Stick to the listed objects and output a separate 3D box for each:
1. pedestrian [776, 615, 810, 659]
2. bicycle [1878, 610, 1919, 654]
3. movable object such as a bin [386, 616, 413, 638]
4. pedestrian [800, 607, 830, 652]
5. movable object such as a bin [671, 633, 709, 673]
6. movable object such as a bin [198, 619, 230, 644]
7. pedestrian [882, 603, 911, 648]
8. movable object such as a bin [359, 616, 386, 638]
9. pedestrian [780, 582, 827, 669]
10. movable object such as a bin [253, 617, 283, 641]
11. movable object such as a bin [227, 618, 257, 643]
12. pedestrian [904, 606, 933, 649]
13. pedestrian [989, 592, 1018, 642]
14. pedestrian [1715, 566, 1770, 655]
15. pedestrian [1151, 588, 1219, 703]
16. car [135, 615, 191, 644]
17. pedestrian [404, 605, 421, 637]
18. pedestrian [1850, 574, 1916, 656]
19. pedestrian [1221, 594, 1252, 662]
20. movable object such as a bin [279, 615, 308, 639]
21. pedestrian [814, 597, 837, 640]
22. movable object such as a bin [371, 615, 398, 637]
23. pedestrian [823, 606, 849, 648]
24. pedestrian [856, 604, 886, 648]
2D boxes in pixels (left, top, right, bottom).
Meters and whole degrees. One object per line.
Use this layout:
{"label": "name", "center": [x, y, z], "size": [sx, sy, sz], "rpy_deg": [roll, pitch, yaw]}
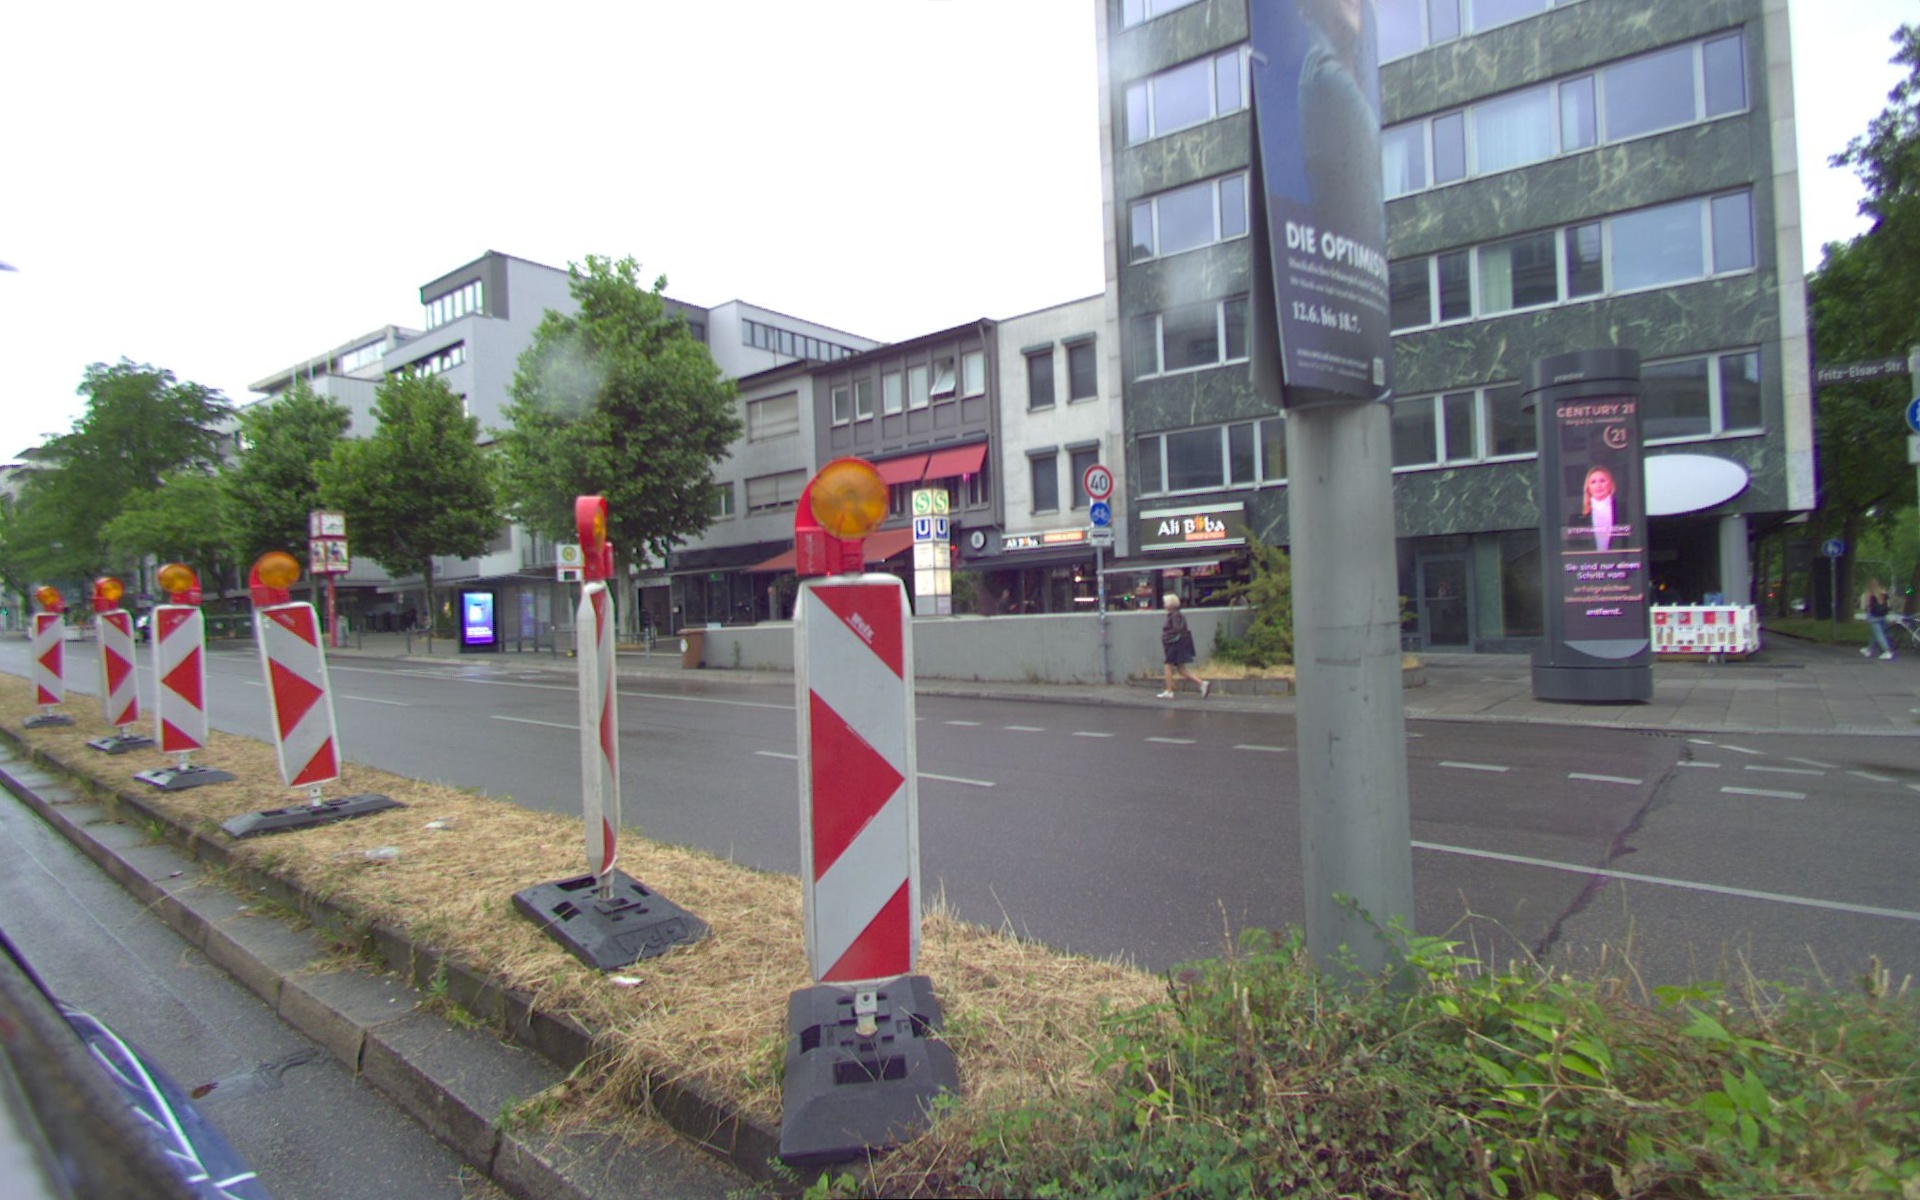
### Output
{"label": "pedestrian", "center": [-5.633, 1.240, 34.176], "size": [0.912, 1.461, 0.683], "rpy_deg": [-2, -1, 37]}
{"label": "bicycle", "center": [20.866, 0.677, 21.615], "size": [0.468, 0.941, 1.803], "rpy_deg": [0, -1, -39]}
{"label": "movable object such as a bin", "center": [-36.639, 1.760, 66.138], "size": [1.278, 1.446, 1.077], "rpy_deg": [-1, -1, 32]}
{"label": "pedestrian", "center": [-4.807, 0.985, 33.562], "size": [0.706, 1.461, 0.683], "rpy_deg": [-2, -1, 37]}
{"label": "movable object such as a bin", "center": [-6.269, 1.230, 23.529], "size": [0.680, 0.904, 0.527], "rpy_deg": [-1, -2, 32]}
{"label": "movable object such as a bin", "center": [-44.233, 1.833, 59.994], "size": [1.088, 1.437, 1.345], "rpy_deg": [-2, -1, 41]}
{"label": "pedestrian", "center": [-2.095, 0.845, 33.312], "size": [0.690, 1.461, 0.627], "rpy_deg": [-2, -1, 34]}
{"label": "movable object such as a bin", "center": [-39.229, 1.781, 67.587], "size": [1.278, 1.446, 1.077], "rpy_deg": [-1, -1, 32]}
{"label": "pedestrian", "center": [-3.493, 0.554, 22.641], "size": [0.757, 1.899, 0.683], "rpy_deg": [-2, -1, 37]}
{"label": "movable object such as a bin", "center": [-42.483, 1.759, 62.129], "size": [1.088, 1.437, 1.265], "rpy_deg": [-2, -1, 41]}
{"label": "movable object such as a bin", "center": [-43.321, 1.840, 61.086], "size": [1.088, 1.437, 1.265], "rpy_deg": [-2, -1, 41]}
{"label": "pedestrian", "center": [-1.349, 0.883, 32.861], "size": [0.690, 1.354, 0.627], "rpy_deg": [-2, -1, 34]}
{"label": "pedestrian", "center": [1.295, 0.500, 30.147], "size": [0.587, 1.461, 0.597], "rpy_deg": [-2, -1, 36]}
{"label": "pedestrian", "center": [16.971, 0.233, 21.971], "size": [0.875, 1.868, 1.012], "rpy_deg": [-2, -1, 37]}
{"label": "pedestrian", "center": [3.388, 0.664, 15.231], "size": [0.757, 1.665, 0.683], "rpy_deg": [-2, -1, 37]}
{"label": "car", "center": [-48.075, 1.781, 61.004], "size": [4.019, 1.648, 1.761], "rpy_deg": [-2, -1, 38]}
{"label": "pedestrian", "center": [-31.021, 1.177, 57.296], "size": [0.653, 1.776, 0.688], "rpy_deg": [-1, -1, 43]}
{"label": "pedestrian", "center": [18.733, 0.322, 20.574], "size": [0.922, 1.597, 0.822], "rpy_deg": [-2, -5, 41]}
{"label": "pedestrian", "center": [7.842, 0.775, 28.682], "size": [0.590, 1.899, 0.749], "rpy_deg": [-2, -1, 34]}
{"label": "movable object such as a bin", "center": [-41.593, 1.684, 63.183], "size": [1.088, 1.499, 1.265], "rpy_deg": [-2, -1, 41]}
{"label": "pedestrian", "center": [-4.972, 0.690, 37.358], "size": [0.603, 1.582, 0.591], "rpy_deg": [-1, -1, 31]}
{"label": "movable object such as a bin", "center": [-37.943, 1.697, 66.731], "size": [1.278, 1.446, 1.077], "rpy_deg": [-1, -1, 32]}
{"label": "pedestrian", "center": [-4.336, 0.934, 35.404], "size": [0.546, 1.461, 0.683], "rpy_deg": [-2, -1, 37]}
{"label": "pedestrian", "center": [-3.028, 0.869, 34.339], "size": [0.690, 1.461, 0.720], "rpy_deg": [-2, -1, 34]}
